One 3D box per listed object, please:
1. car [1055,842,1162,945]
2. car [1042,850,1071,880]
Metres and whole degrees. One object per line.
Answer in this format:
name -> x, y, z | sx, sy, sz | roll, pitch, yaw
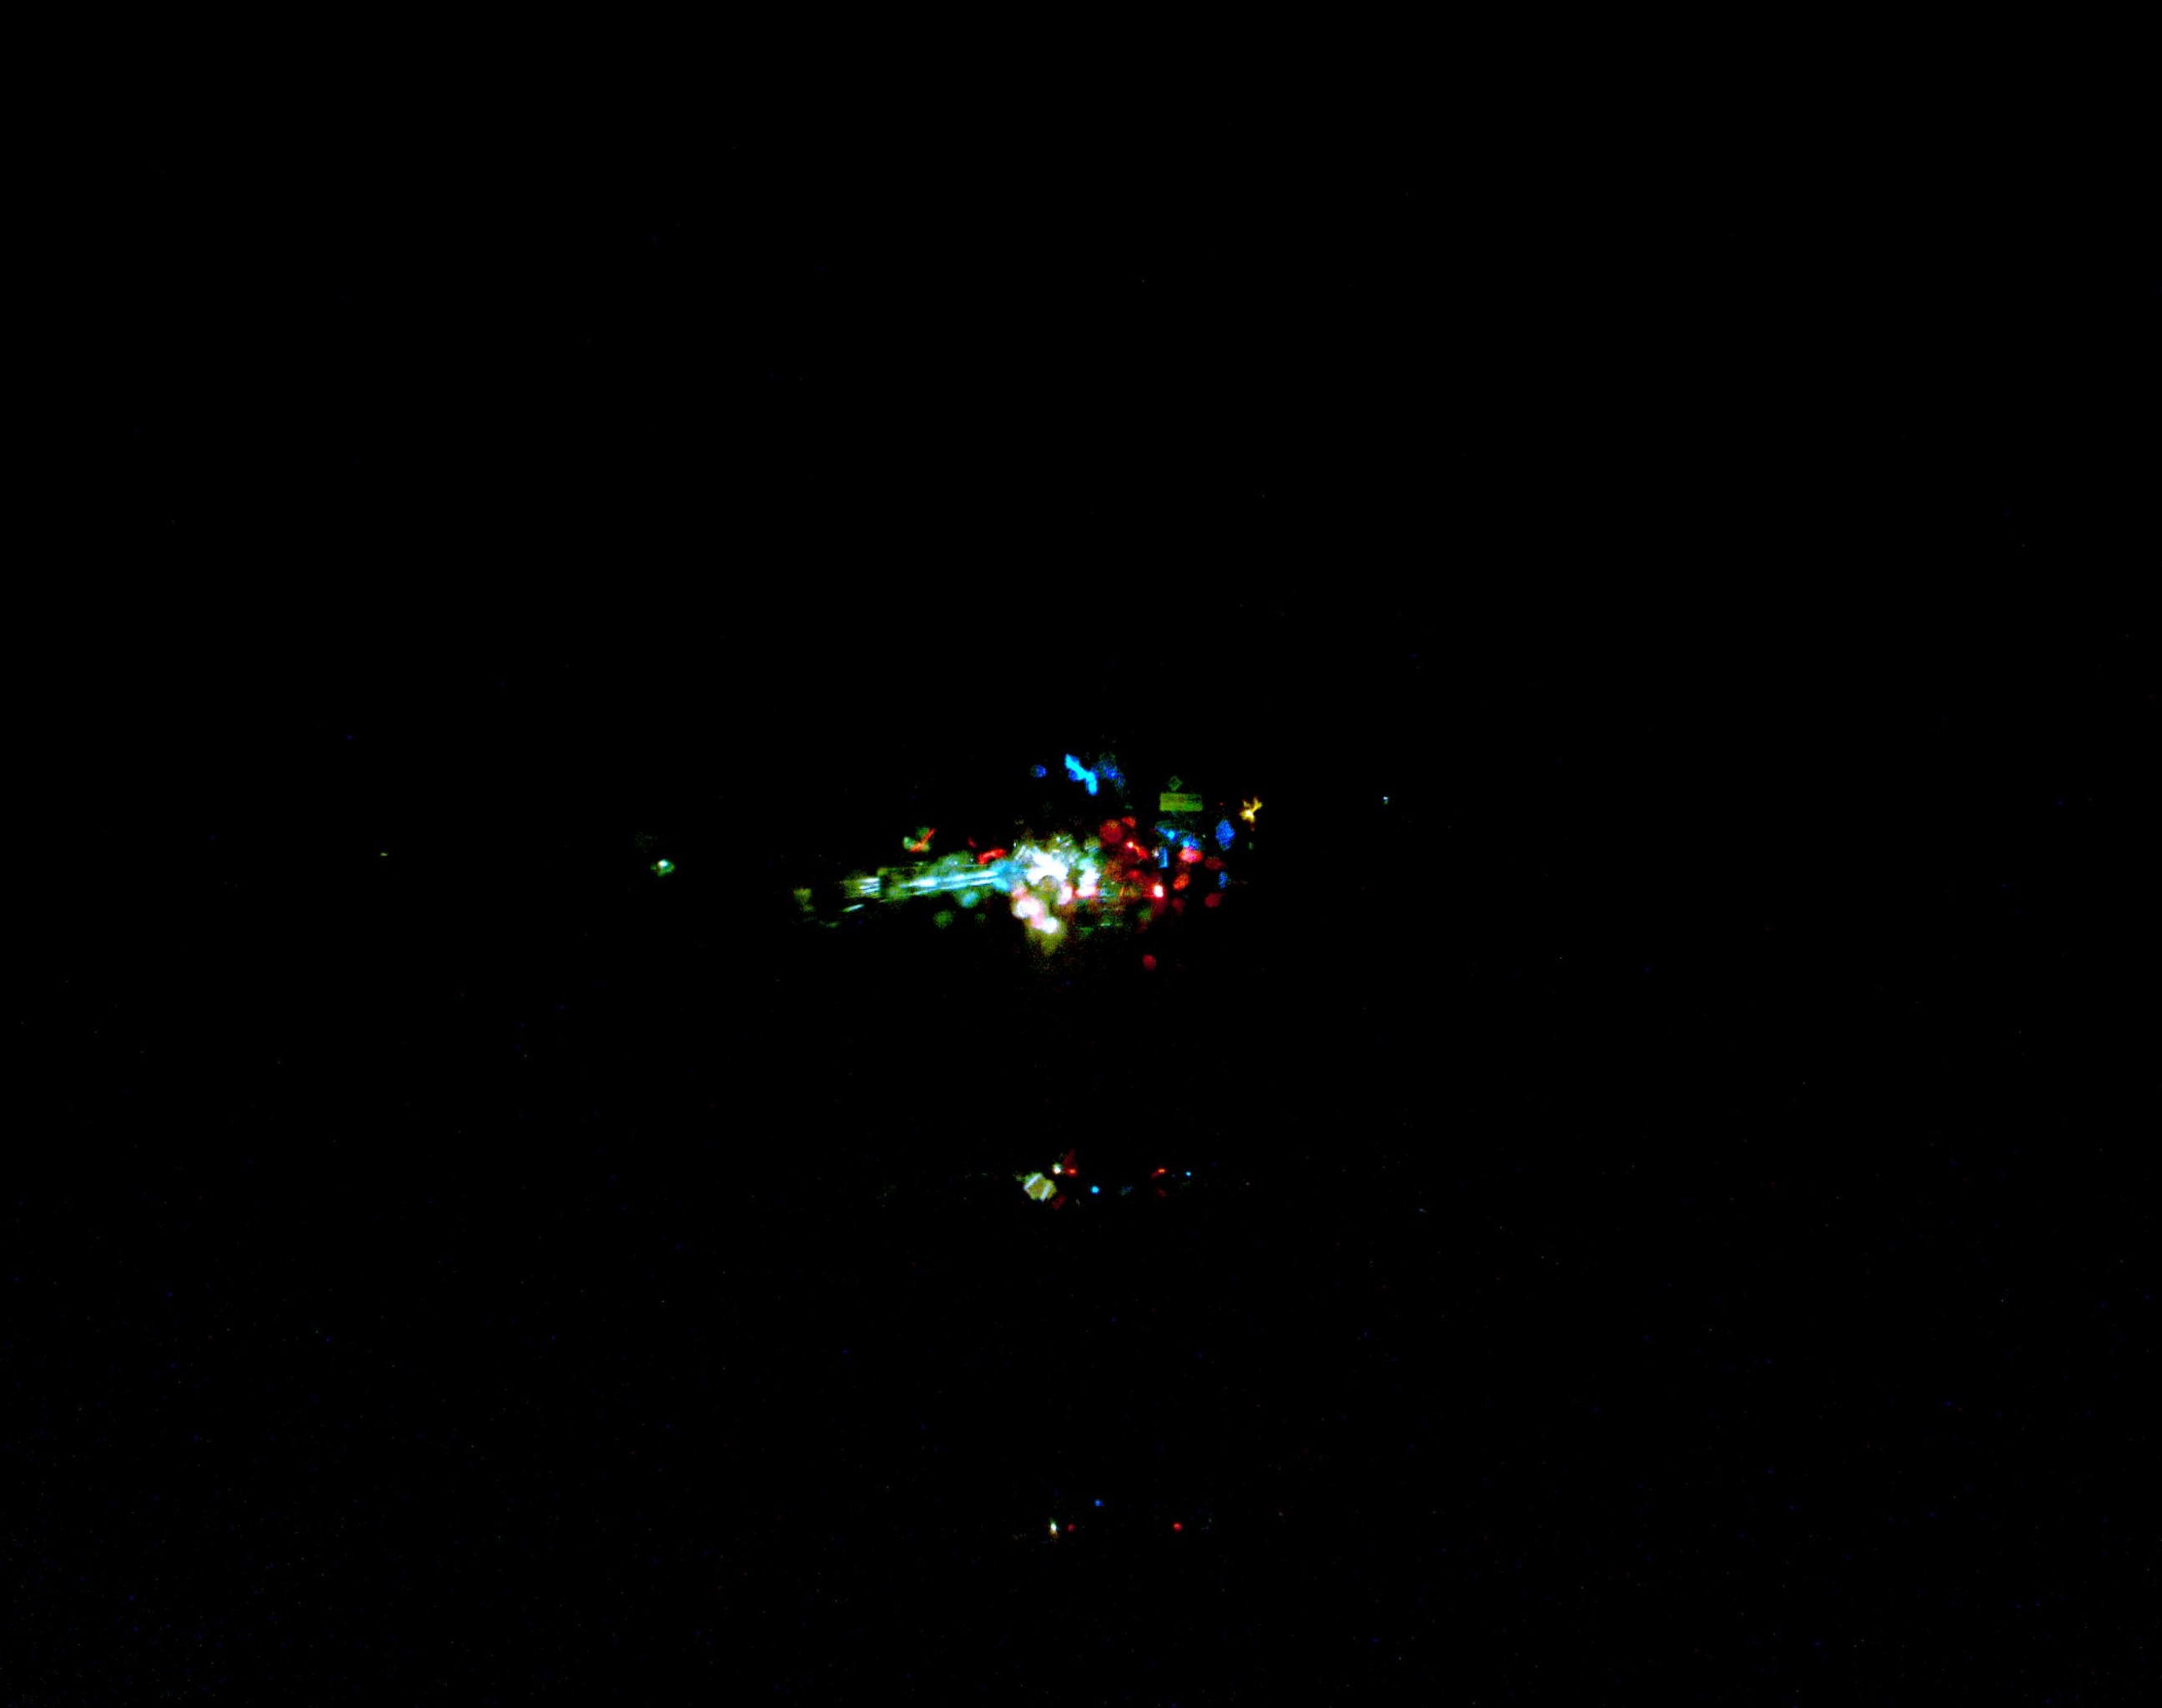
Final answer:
car -> 0.476, 0.672, 15.590 | 1.769, 1.712, 4.000 | -1, 0, 0
car -> -1.821, 0.872, 60.121 | 1.989, 2.014, 3.995 | -2, -3, -3
